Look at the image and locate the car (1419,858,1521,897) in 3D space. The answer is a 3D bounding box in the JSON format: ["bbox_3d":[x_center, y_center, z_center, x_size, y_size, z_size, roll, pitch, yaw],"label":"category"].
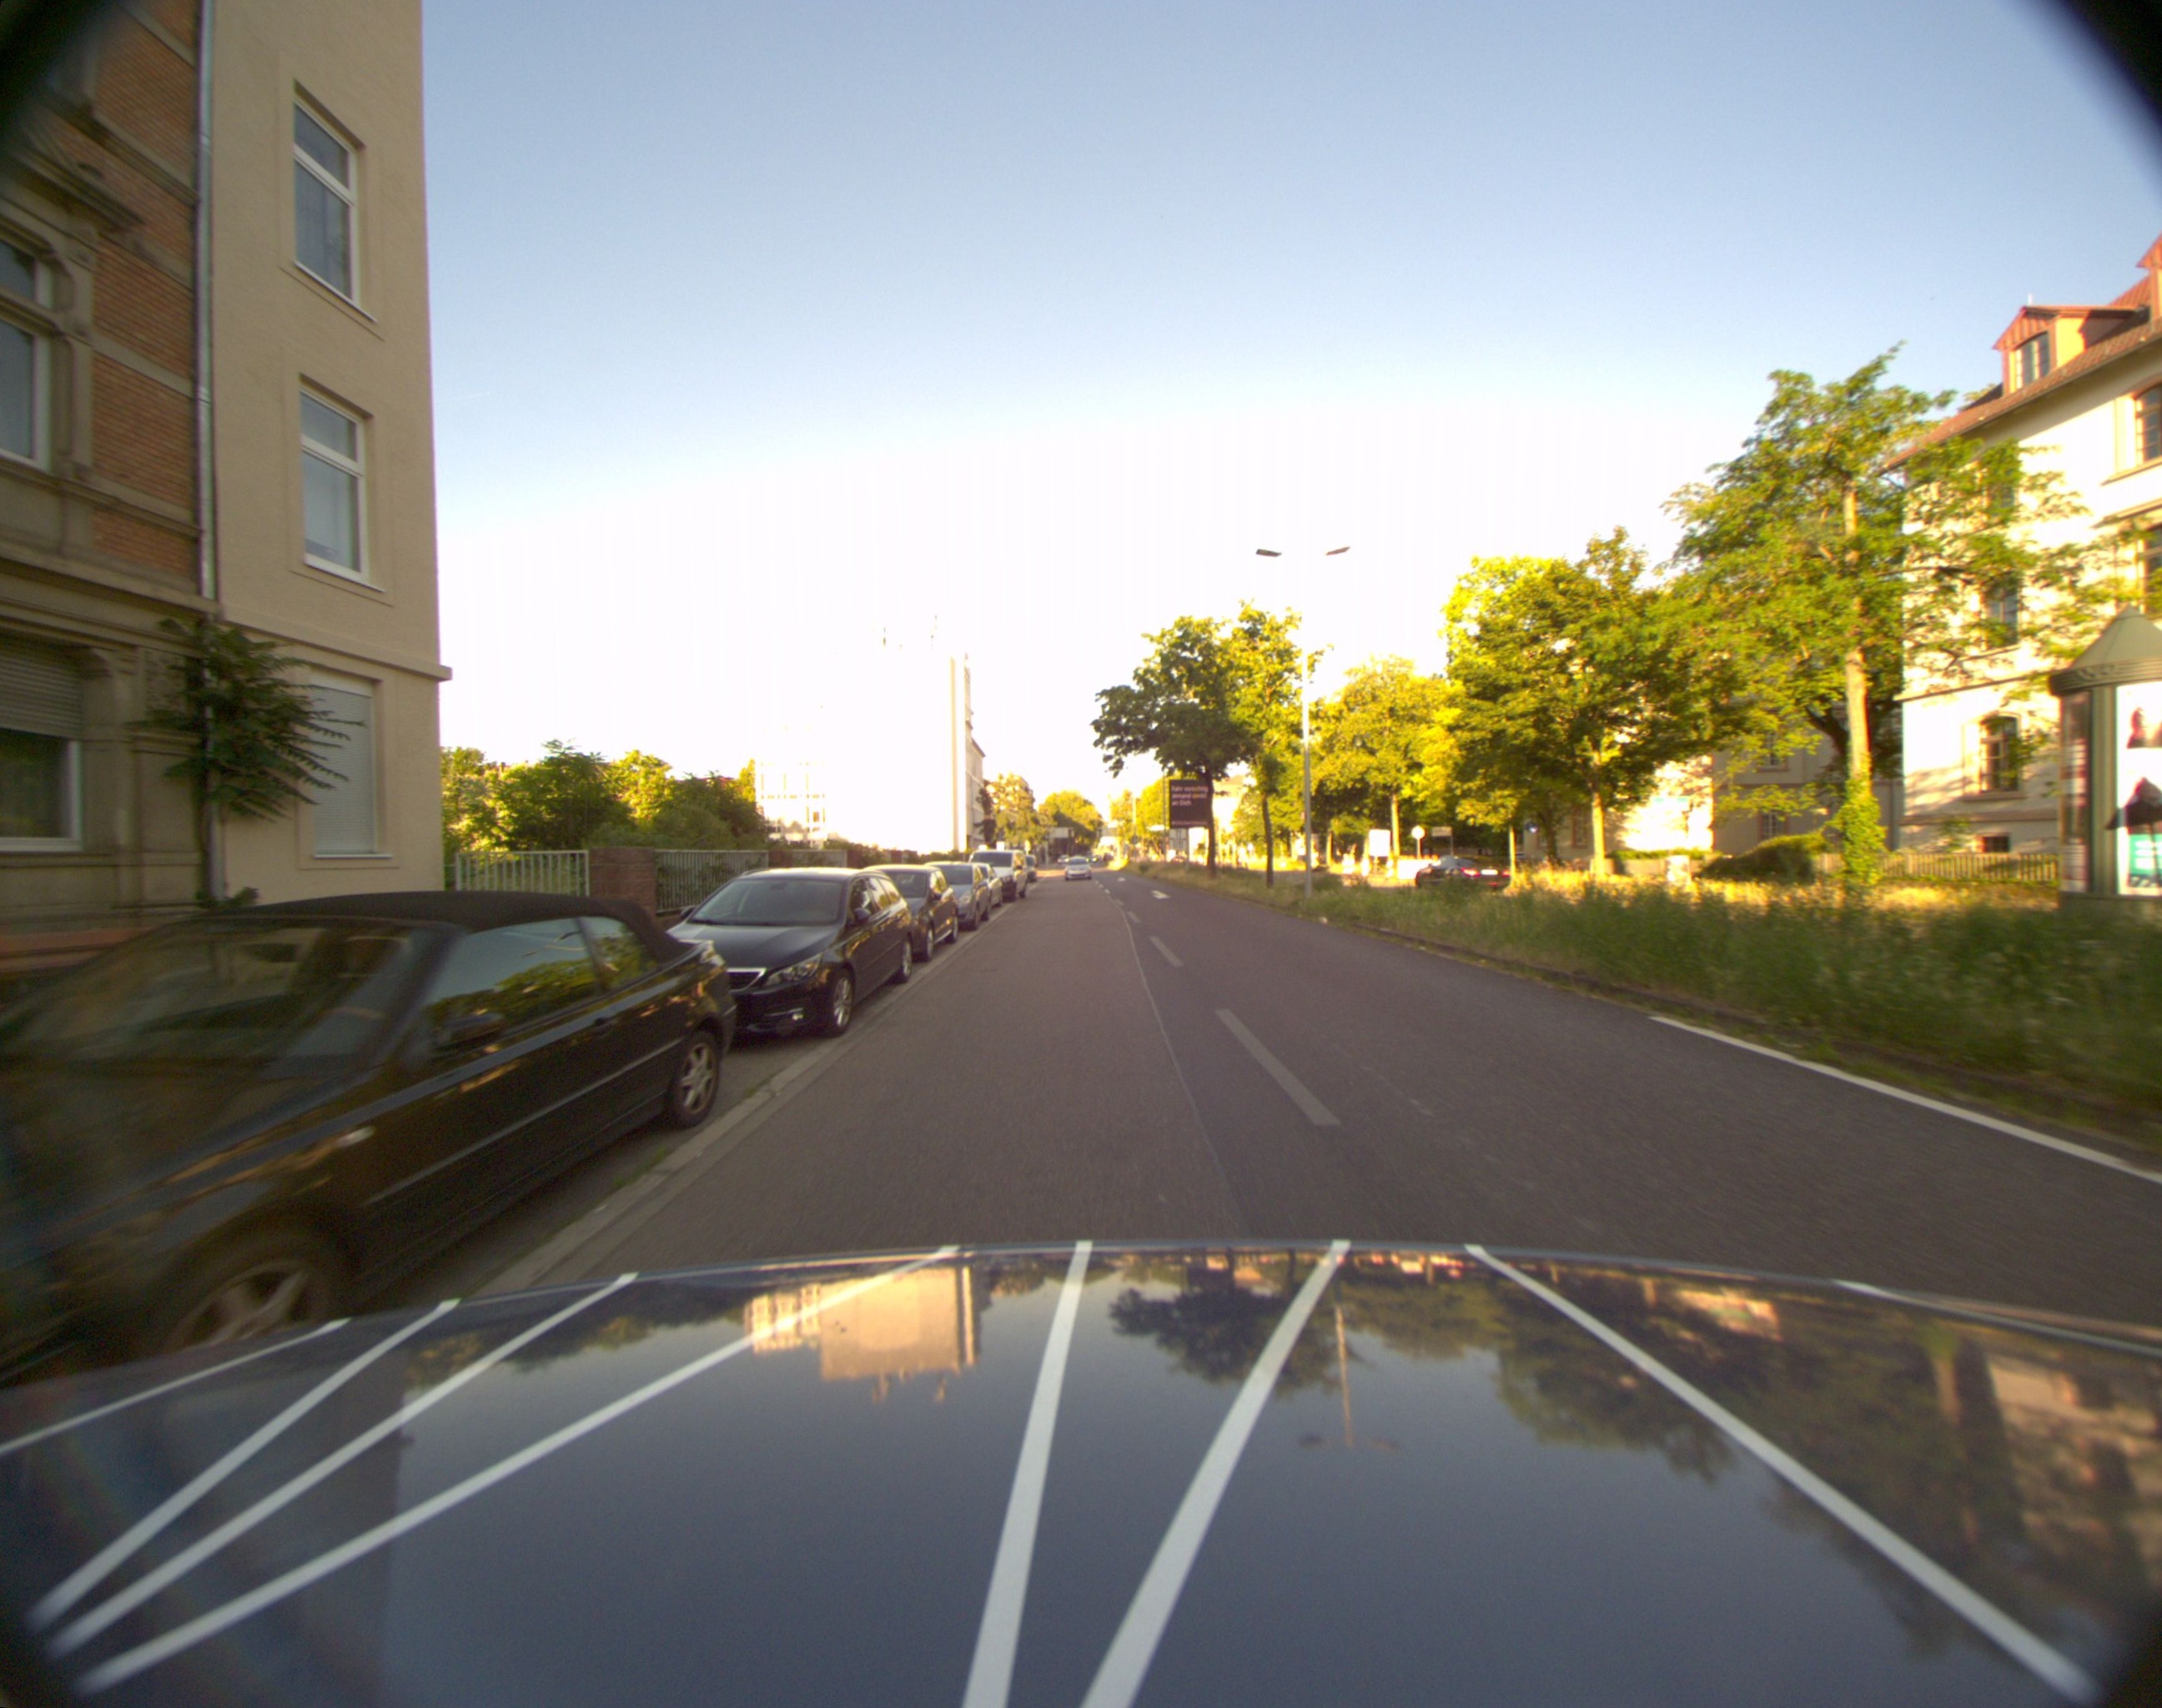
[{"bbox_3d":[14.543,0.821,28.660,1.778,1.266,4.007,2,0,1],"label":"car"}]

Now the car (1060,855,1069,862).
[{"bbox_3d":[-3.388,0.917,157.661,1.948,1.514,4.163,0,0,-1],"label":"car"}]

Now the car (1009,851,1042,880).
[{"bbox_3d":[-3.628,0.716,50.581,1.778,1.818,4.555,1,0,1],"label":"car"}]

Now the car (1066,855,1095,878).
[{"bbox_3d":[-0.016,0.839,51.846,1.895,1.455,3.965,0,0,0],"label":"car"}]

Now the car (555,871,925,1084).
[{"bbox_3d":[-3.065,0.998,8.035,1.892,1.439,4.463,2,0,-1],"label":"car"}]

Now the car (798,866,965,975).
[{"bbox_3d":[-3.117,0.972,12.687,1.751,1.418,3.839,2,0,0],"label":"car"}]

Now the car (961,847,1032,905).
[{"bbox_3d":[-3.064,0.743,28.701,1.892,1.907,5.179,2,0,2],"label":"car"}]

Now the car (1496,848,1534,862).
[{"bbox_3d":[44.951,0.072,78.794,1.698,1.368,4.000,-3,0,0],"label":"car"}]

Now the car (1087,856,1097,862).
[{"bbox_3d":[2.203,1.078,156.742,1.948,1.259,4.163,0,0,-1],"label":"car"}]

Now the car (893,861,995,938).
[{"bbox_3d":[-3.056,0.957,17.639,1.705,1.479,3.892,2,0,-1],"label":"car"}]

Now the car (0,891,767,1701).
[{"bbox_3d":[-3.156,1.011,3.096,1.892,1.418,4.342,2,0,0],"label":"car"}]

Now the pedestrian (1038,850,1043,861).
[{"bbox_3d":[-7.331,0.273,137.630,0.721,1.834,0.748,0,0,-4],"label":"pedestrian"}]

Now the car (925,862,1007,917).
[{"bbox_3d":[-3.339,0.988,22.899,1.732,1.377,4.642,2,0,0],"label":"car"}]

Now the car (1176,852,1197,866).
[{"bbox_3d":[11.997,0.552,86.480,1.778,1.409,4.007,2,0,1],"label":"car"}]
